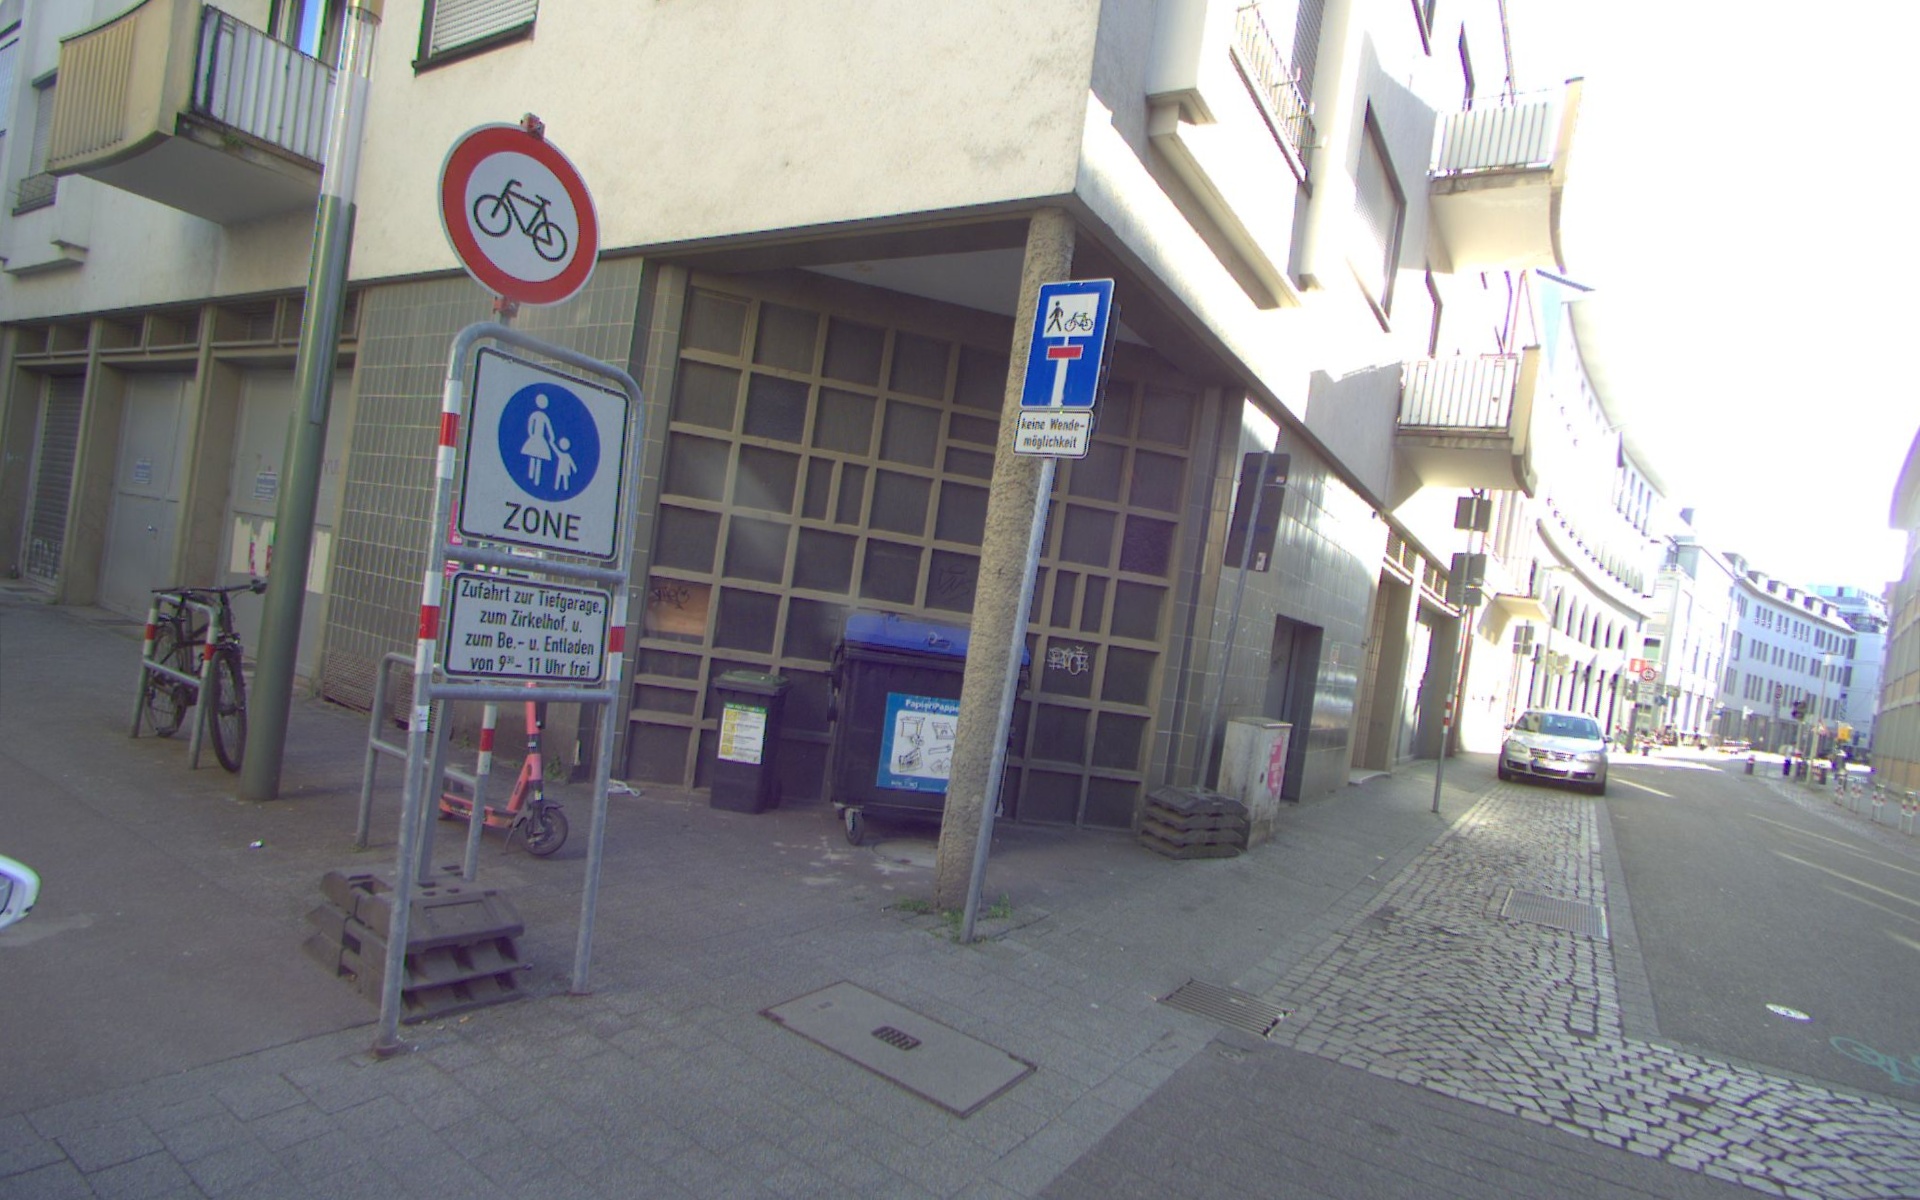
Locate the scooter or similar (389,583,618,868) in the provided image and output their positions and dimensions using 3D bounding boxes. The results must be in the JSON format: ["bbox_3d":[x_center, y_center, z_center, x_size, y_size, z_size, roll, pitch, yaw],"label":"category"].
[{"bbox_3d":[-2.428,0.617,5.308,1.218,1.268,0.307,7,0,30],"label":"scooter or similar"}]

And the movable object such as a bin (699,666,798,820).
[{"bbox_3d":[-1.456,0.967,6.892,0.533,0.935,0.512,7,0,-14],"label":"movable object such as a bin"}]

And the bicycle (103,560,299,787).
[{"bbox_3d":[-4.699,0.405,6.183,1.684,1.153,0.446,6,-1,38],"label":"bicycle"}]

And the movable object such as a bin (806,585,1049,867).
[{"bbox_3d":[-0.273,0.802,6.848,1.271,1.609,1.152,8,1,-12],"label":"movable object such as a bin"}]

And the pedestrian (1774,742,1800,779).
[{"bbox_3d":[35.596,6.894,43.321,0.649,1.458,0.594,8,0,35],"label":"pedestrian"}]

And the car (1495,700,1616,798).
[{"bbox_3d":[11.671,2.816,19.634,1.742,1.487,3.805,6,-2,33],"label":"car"}]
